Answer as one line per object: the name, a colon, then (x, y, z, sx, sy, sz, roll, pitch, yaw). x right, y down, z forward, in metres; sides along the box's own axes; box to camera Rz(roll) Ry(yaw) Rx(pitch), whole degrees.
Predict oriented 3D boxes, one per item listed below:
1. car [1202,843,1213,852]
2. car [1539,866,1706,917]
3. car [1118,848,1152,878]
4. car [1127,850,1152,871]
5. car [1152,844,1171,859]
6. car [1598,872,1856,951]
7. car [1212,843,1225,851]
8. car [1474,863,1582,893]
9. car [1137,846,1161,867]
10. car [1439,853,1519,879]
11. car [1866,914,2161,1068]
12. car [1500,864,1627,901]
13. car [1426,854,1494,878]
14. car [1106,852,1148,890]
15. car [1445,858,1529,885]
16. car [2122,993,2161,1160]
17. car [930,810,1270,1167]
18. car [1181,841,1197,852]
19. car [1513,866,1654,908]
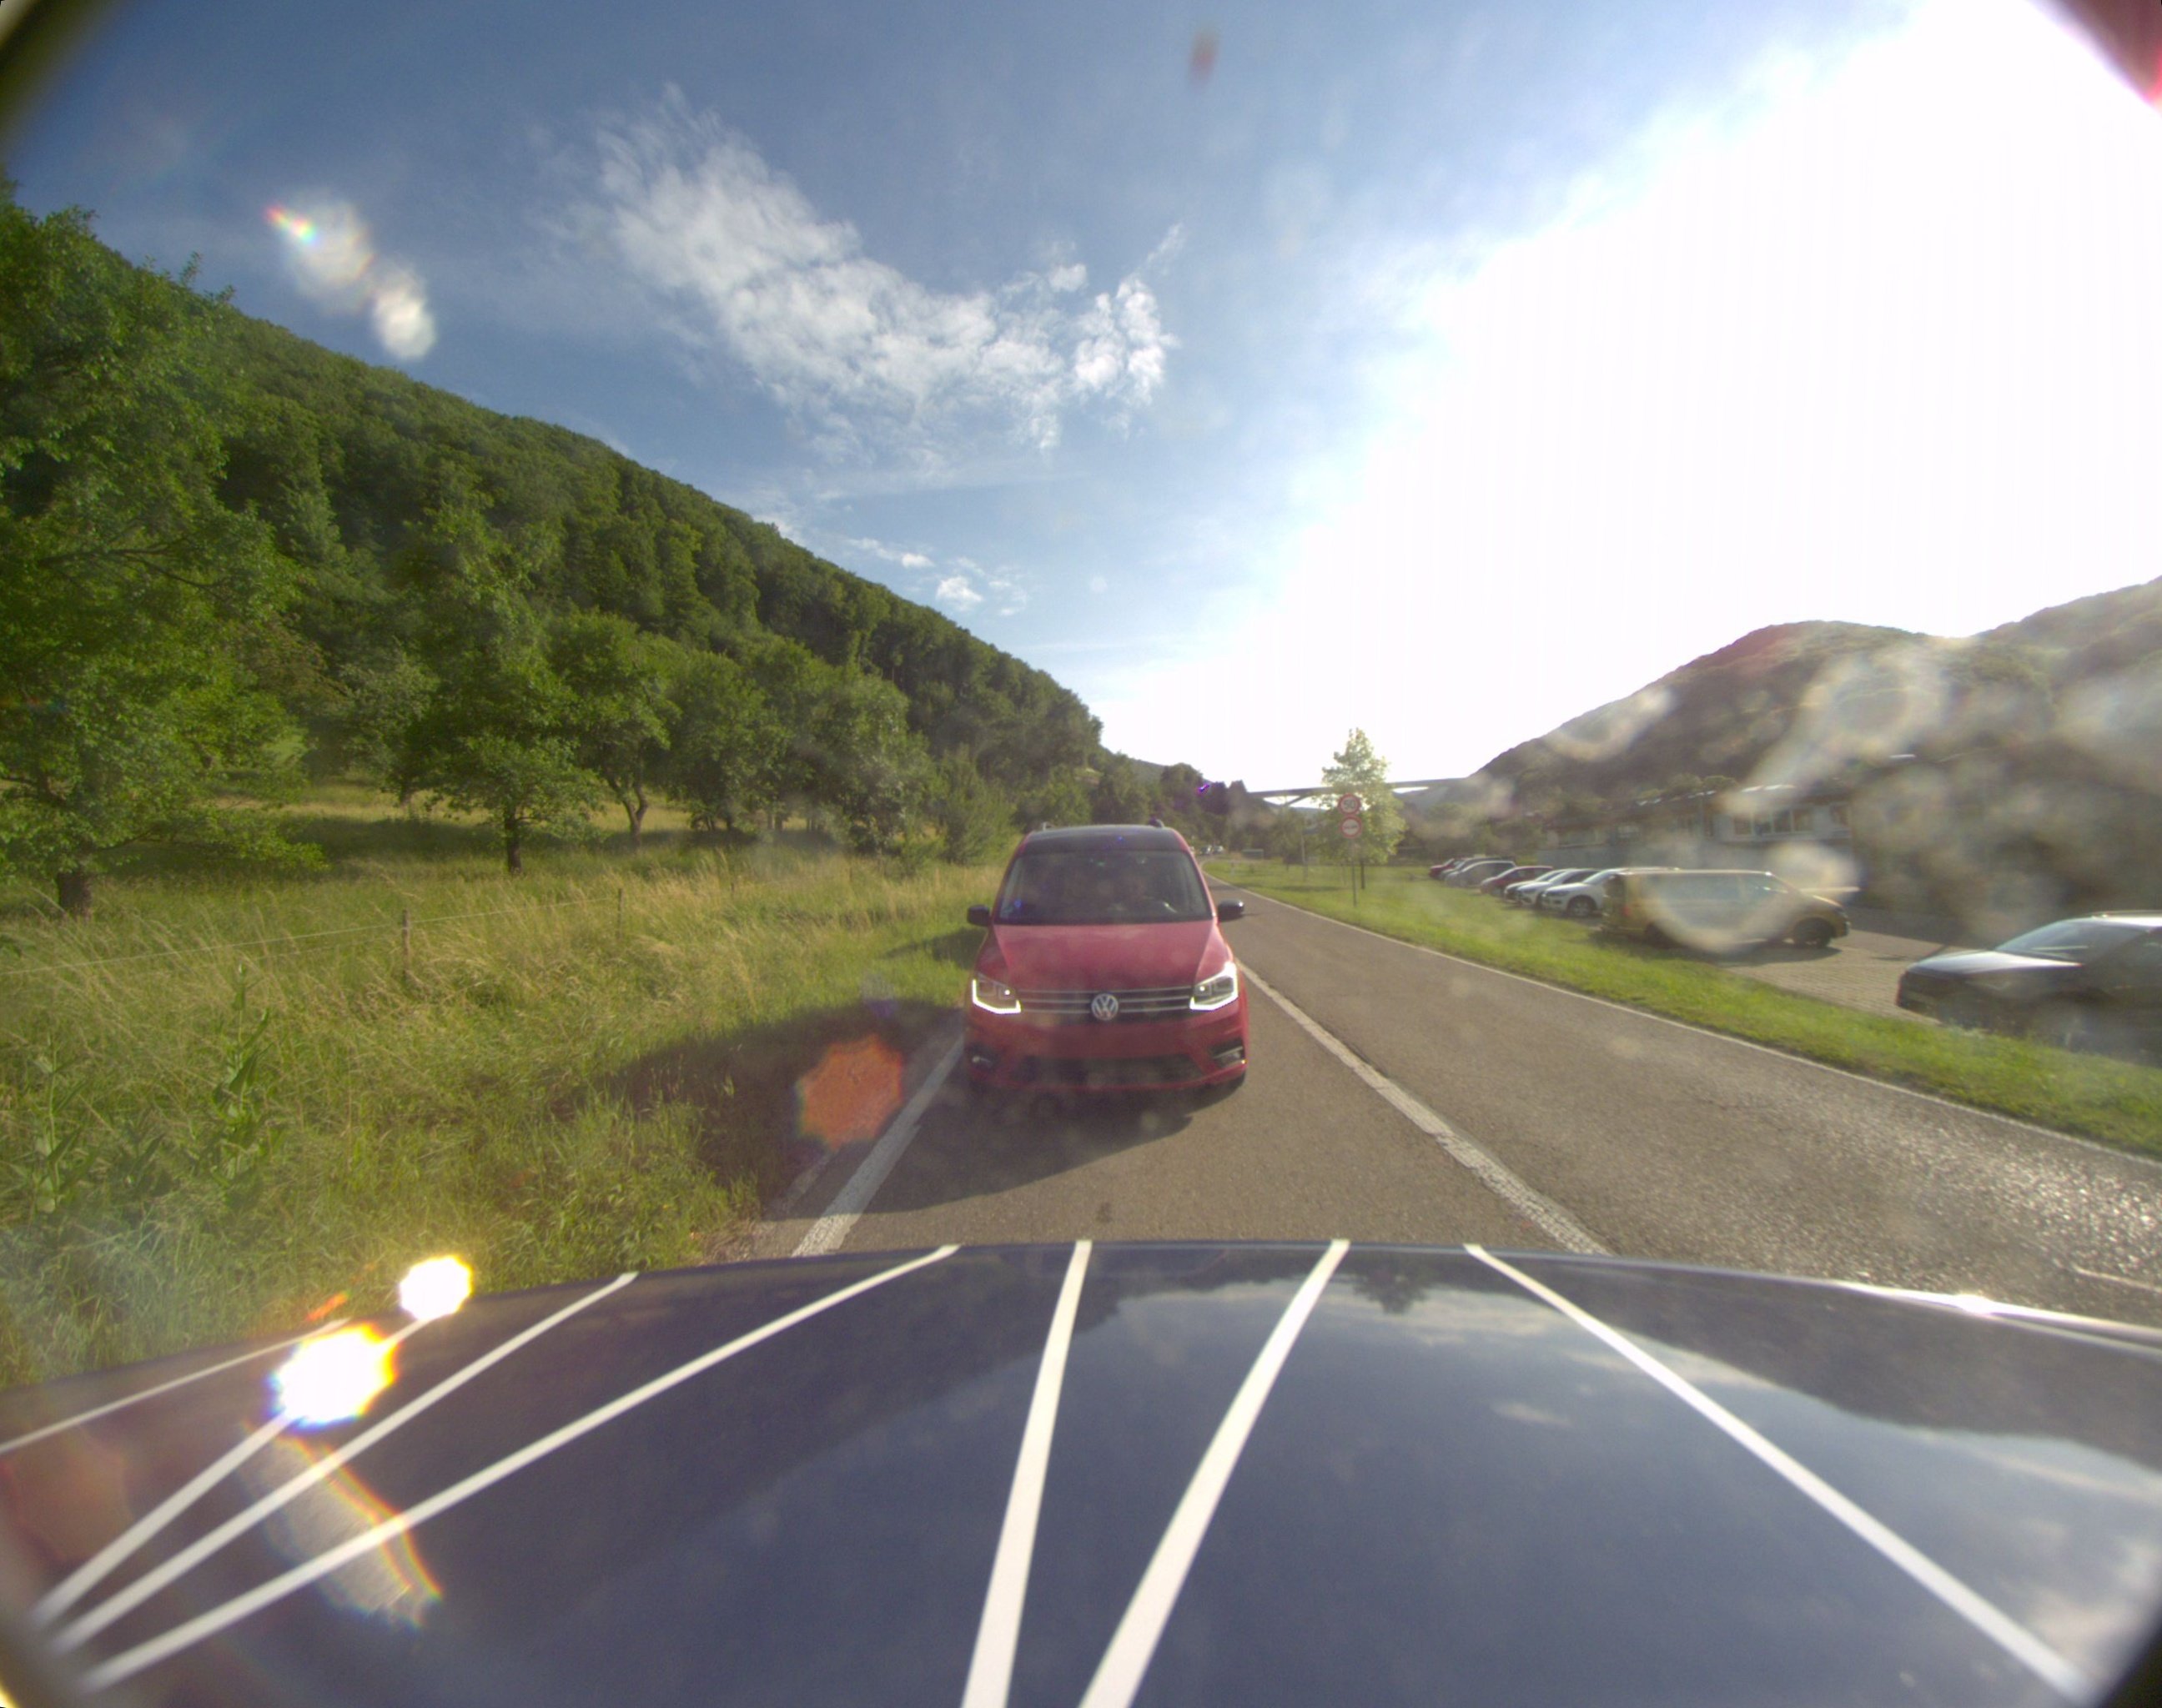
car: (23.617, -1.204, 141.560, 1.677, 1.637, 3.350, -2, 0, 16)
car: (19.330, 1.317, 27.389, 4.545, 1.691, 2.003, -1, 0, 20)
car: (3.283, 0.529, 46.389, 1.901, 1.717, 4.001, -2, 0, 4)
car: (4.557, 0.487, 58.519, 1.798, 1.464, 4.285, -2, 0, 5)
car: (9.566, -0.289, 90.259, 1.911, 1.675, 4.003, -2, -1, 10)
car: (16.358, 1.403, 19.581, 4.653, 1.802, 2.003, -1, 0, 20)
car: (28.397, -1.428, 156.837, 1.996, 1.707, 4.005, -2, 0, 17)
car: (22.709, 1.236, 38.816, 4.437, 1.443, 2.003, -1, 0, 20)
car: (6.326, 0.230, 71.266, 1.998, 1.838, 4.001, -2, 0, 2)
car: (27.609, 0.832, 52.924, 4.665, 1.752, 2.003, -1, 0, 18)
car: (13.536, 1.700, 9.830, 4.289, 1.628, 1.915, -3, 0, 15)
car: (21.415, 1.260, 33.941, 4.437, 1.573, 2.003, -1, 0, 18)
car: (28.899, 0.919, 58.098, 4.437, 1.709, 2.003, -1, 0, 18)
car: (2.039, 0.708, 33.655, 1.693, 1.539, 4.001, -2, 0, 3)
car: (25.812, 1.099, 48.463, 4.437, 1.573, 2.003, -2, 0, 18)
car: (12.065, 2.056, 5.818, 4.645, 1.488, 1.915, -1, 0, 15)
car: (0.127, 0.732, 6.211, 1.747, 1.849, 4.348, -2, 0, 1)
car: (17.021, -1.193, 119.459, 1.796, 1.725, 4.288, -2, 0, 16)
car: (20.205, 1.313, 30.787, 4.437, 1.577, 2.003, -1, 0, 20)
